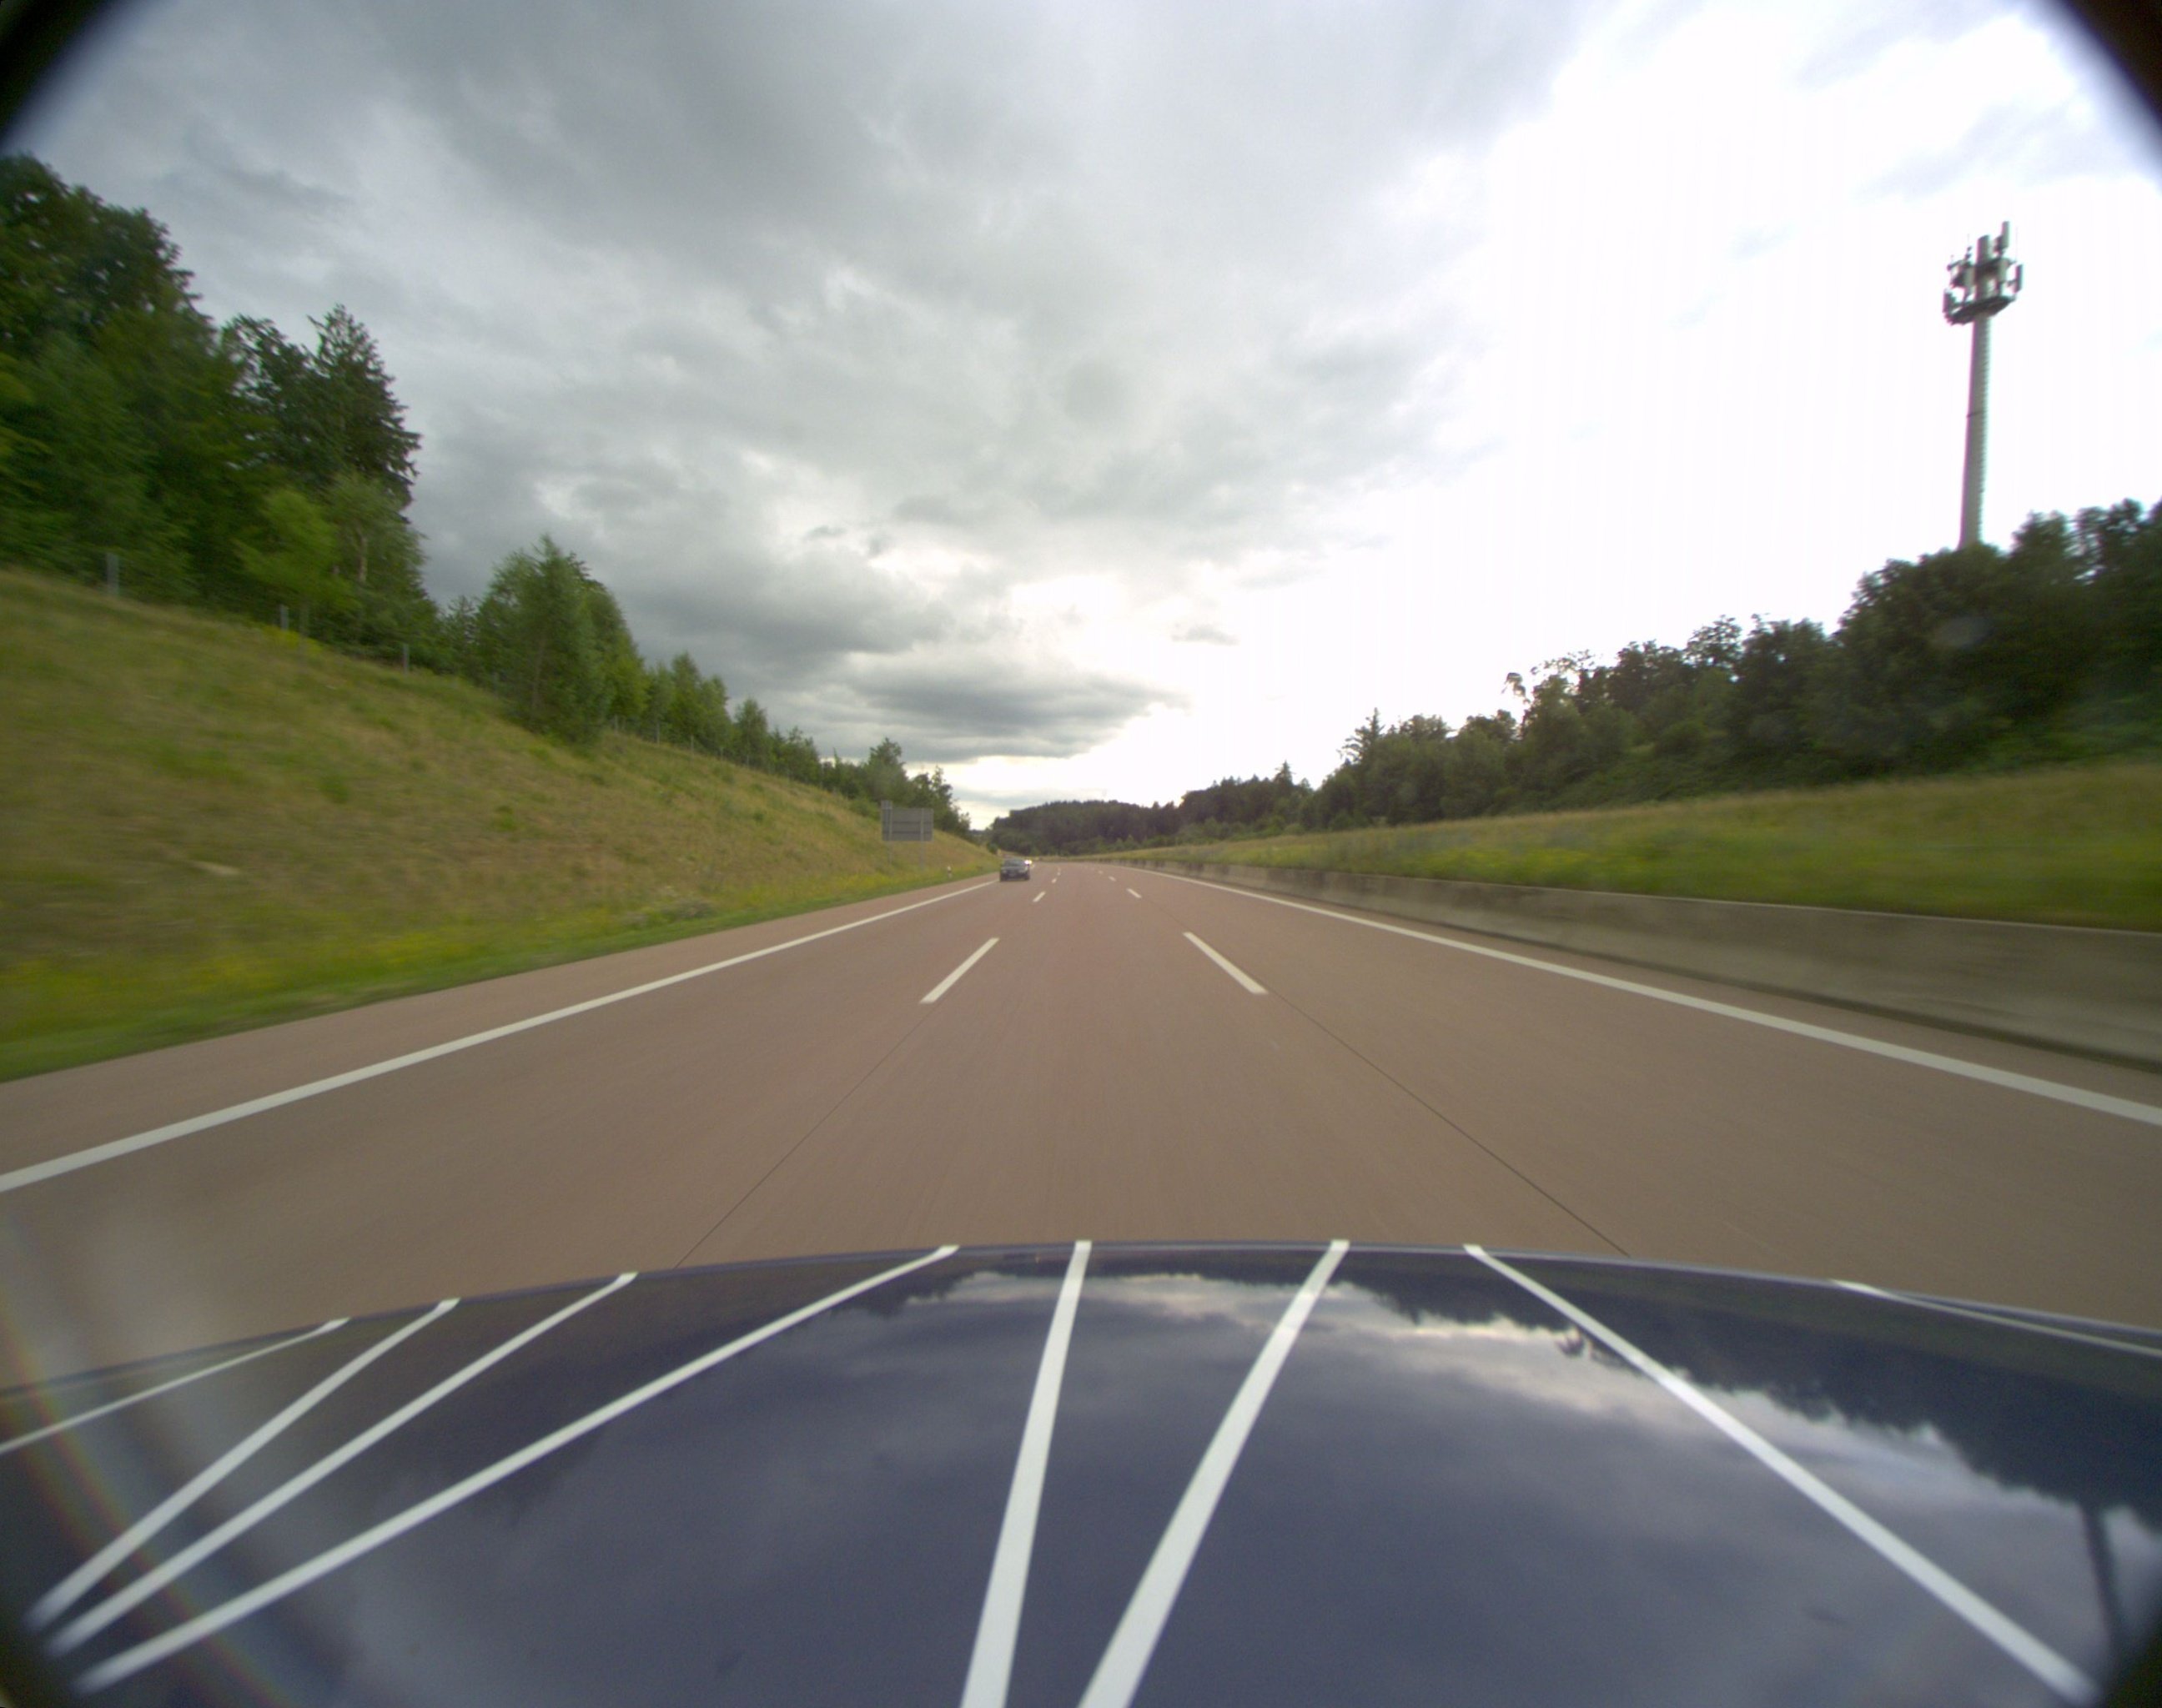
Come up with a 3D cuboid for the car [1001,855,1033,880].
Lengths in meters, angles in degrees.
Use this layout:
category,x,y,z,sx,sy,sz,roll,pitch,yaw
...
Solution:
category,x,y,z,sx,sy,sz,roll,pitch,yaw
car,-4.056,0.831,48.925,1.676,1.395,4.232,-1,1,0
